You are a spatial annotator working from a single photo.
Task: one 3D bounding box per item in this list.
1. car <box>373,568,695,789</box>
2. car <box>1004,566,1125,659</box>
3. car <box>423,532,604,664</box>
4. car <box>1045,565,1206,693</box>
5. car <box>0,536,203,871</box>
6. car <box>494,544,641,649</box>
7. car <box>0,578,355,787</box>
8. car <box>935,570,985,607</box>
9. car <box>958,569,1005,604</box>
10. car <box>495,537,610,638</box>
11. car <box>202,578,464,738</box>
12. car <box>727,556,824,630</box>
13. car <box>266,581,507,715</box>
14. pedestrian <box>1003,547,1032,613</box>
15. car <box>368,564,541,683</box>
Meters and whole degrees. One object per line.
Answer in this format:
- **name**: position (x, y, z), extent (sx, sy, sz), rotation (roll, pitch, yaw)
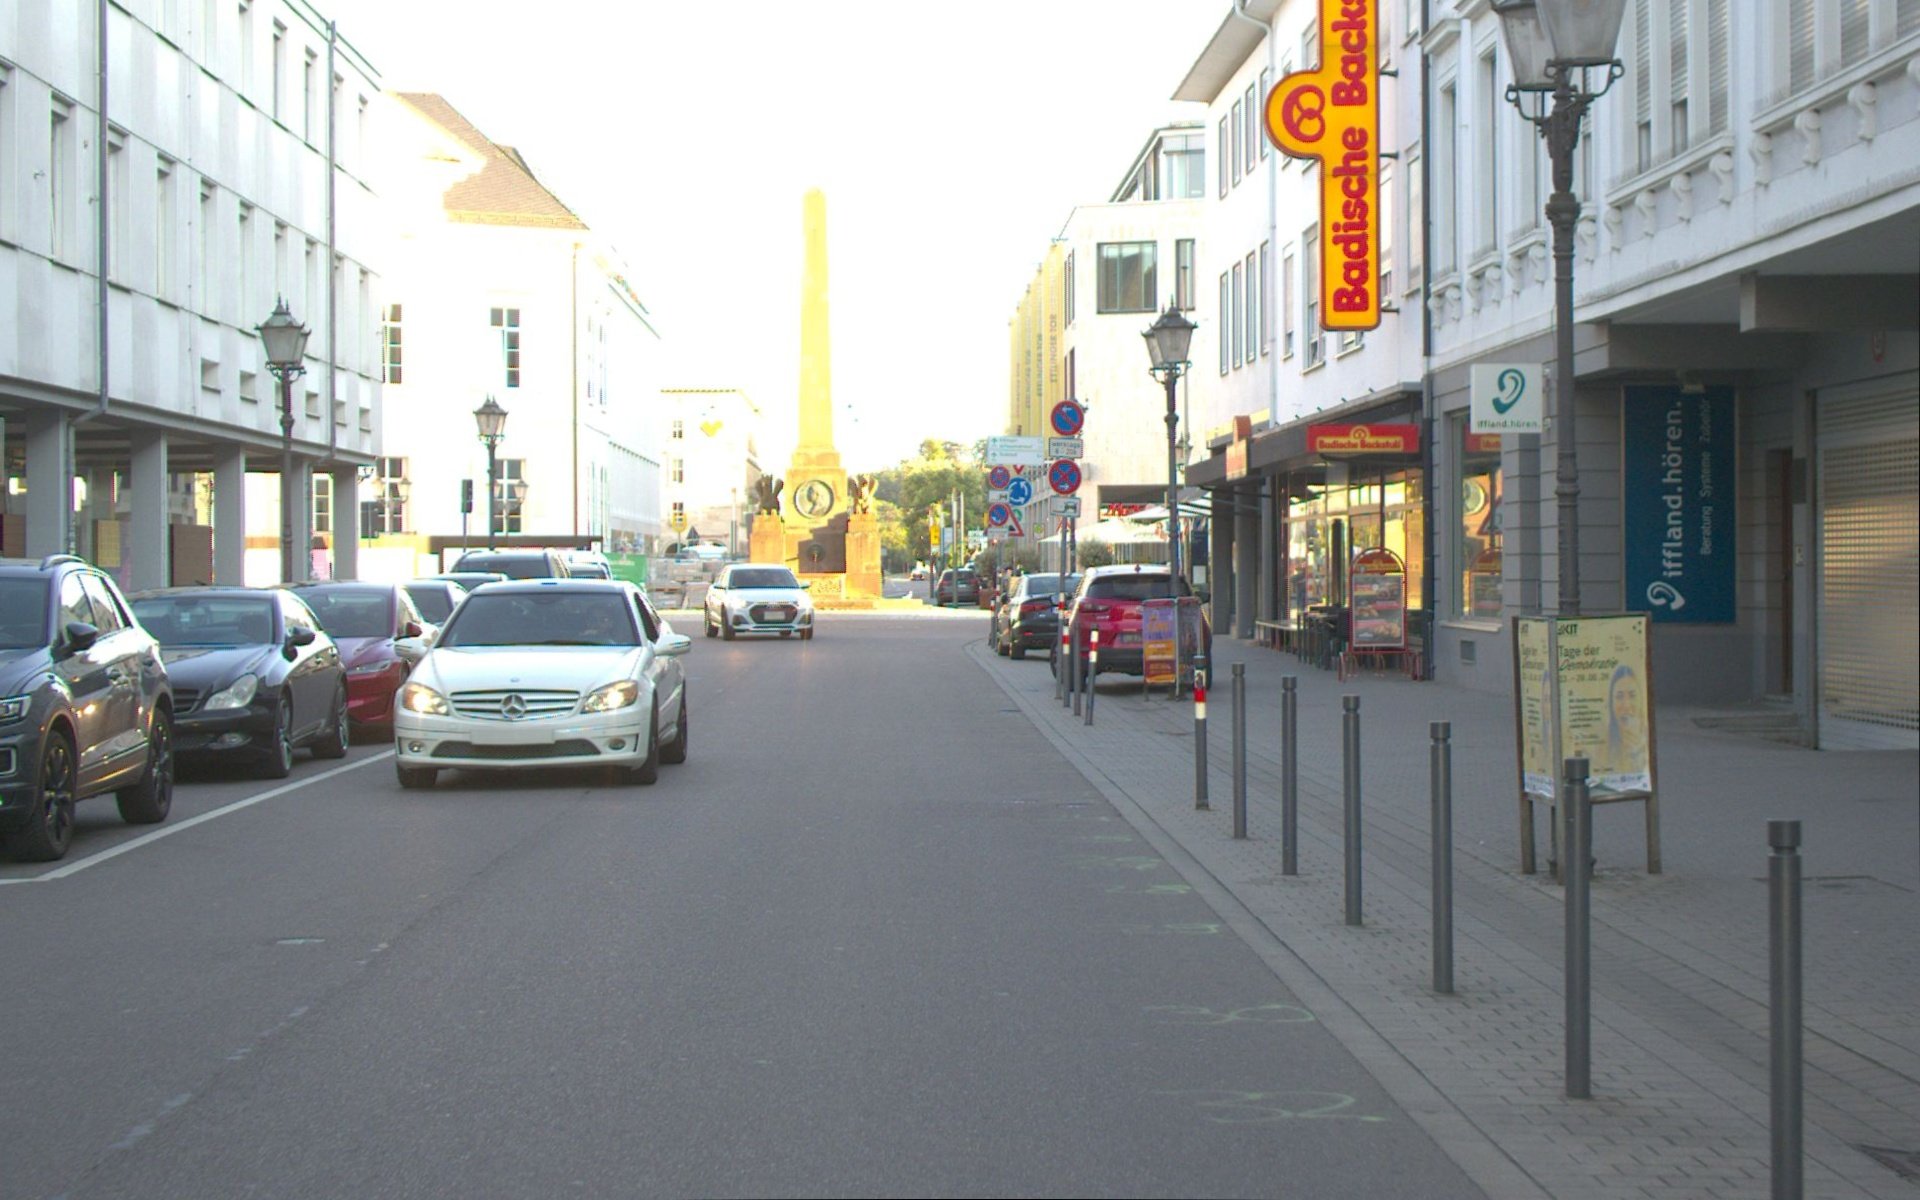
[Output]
- **car**: position (-2.917, 0.490, 24.324), extent (1.785, 1.404, 4.088), rotation (-1, 1, 0)
- **car**: position (1.679, 0.179, 56.517), extent (1.801, 1.459, 4.117), rotation (0, 1, -1)
- **car**: position (-6.256, -0.053, 48.650), extent (1.993, 1.722, 4.516), rotation (-2, 1, -1)
- **car**: position (2.012, 0.325, 42.670), extent (1.759, 1.518, 3.677), rotation (0, 1, -1)
- **car**: position (-5.437, 0.479, 18.562), extent (1.785, 1.609, 4.166), rotation (-1, 1, 0)
- **car**: position (-6.353, -0.074, 56.076), extent (1.993, 1.656, 4.000), rotation (0, 1, -1)
- **car**: position (-5.776, 0.557, 25.730), extent (1.785, 1.404, 4.088), rotation (-1, 1, 0)
- **car**: position (0.013, -0.476, 138.171), extent (1.993, 1.459, 4.000), rotation (0, 1, 0)
- **car**: position (0.913, -0.598, 146.652), extent (1.993, 1.459, 4.000), rotation (0, 1, 0)
- **car**: position (-7.618, -0.255, 63.949), extent (1.993, 1.809, 4.785), rotation (0, 1, -8)
- **car**: position (-5.959, 0.509, 33.115), extent (1.785, 1.404, 4.088), rotation (-1, 1, 0)
- **car**: position (-3.621, -0.153, 68.055), extent (1.764, 1.417, 4.000), rotation (0, 1, -1)
- **car**: position (-6.127, 0.479, 37.148), extent (1.993, 1.349, 4.000), rotation (0, 1, -1)
- **pedestrian**: position (1.457, -0.506, 86.943), extent (0.690, 1.642, 0.696), rotation (-1, 1, -2)
- **car**: position (-6.279, 0.258, 43.039), extent (1.673, 1.395, 4.000), rotation (-1, 1, -2)
